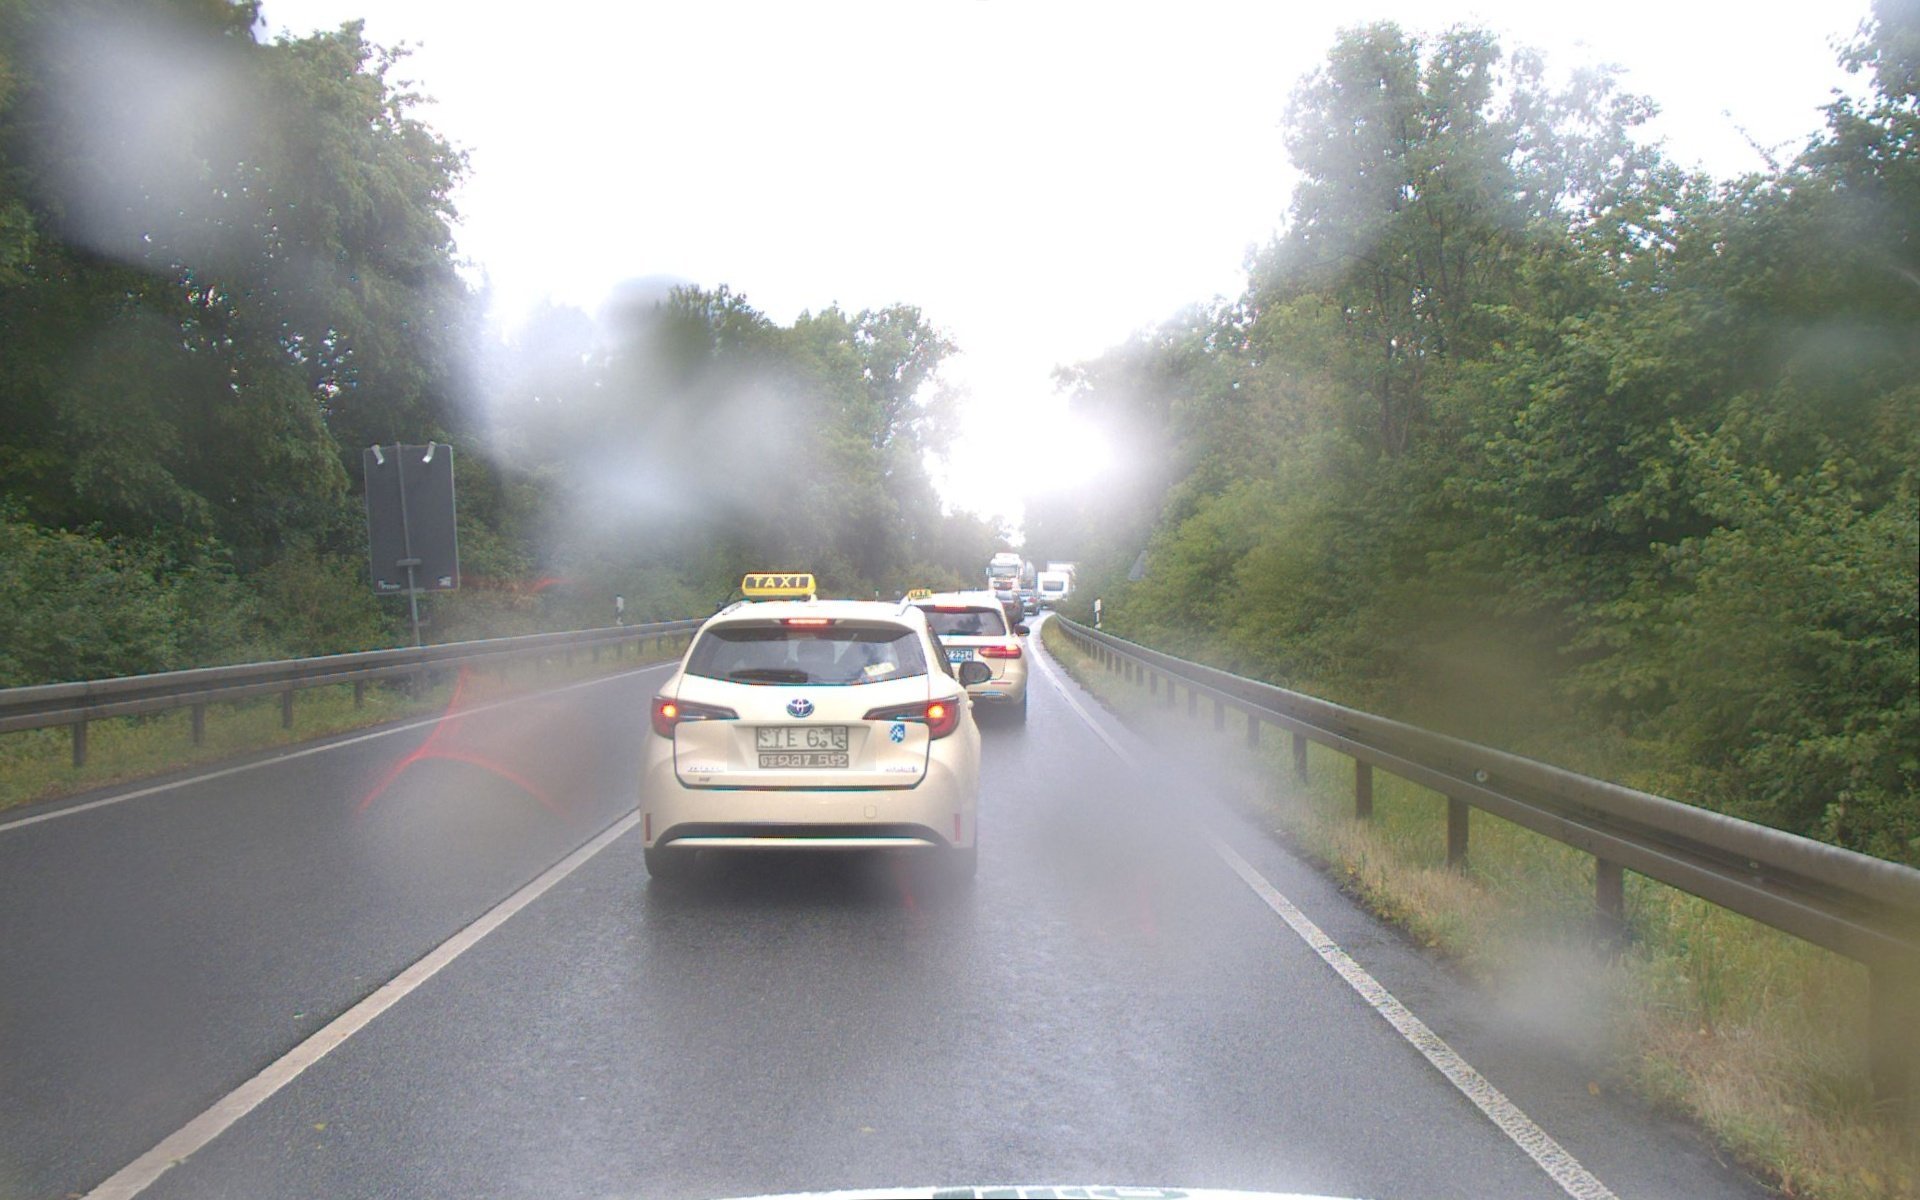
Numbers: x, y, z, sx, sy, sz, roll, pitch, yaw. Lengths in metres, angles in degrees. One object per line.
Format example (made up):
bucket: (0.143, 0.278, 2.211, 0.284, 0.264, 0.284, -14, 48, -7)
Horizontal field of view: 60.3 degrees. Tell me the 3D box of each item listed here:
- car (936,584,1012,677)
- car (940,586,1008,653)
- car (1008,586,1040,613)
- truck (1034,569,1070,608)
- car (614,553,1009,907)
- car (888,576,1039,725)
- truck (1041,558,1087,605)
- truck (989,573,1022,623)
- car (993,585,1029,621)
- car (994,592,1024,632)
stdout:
car: (0.219, 0.530, 29.973, 1.274, 1.574, 3.259, 1, 0, -1)
car: (0.367, 0.440, 40.850, 1.578, 1.574, 3.814, 0, 0, 1)
car: (3.815, -0.030, 97.892, 1.732, 1.574, 3.816, 1, 0, 4)
truck: (6.657, -0.798, 120.347, 2.496, 2.760, 7.537, 1, 0, 3)
car: (-0.713, 0.610, 9.734, 1.796, 1.608, 4.156, 1, 0, -1)
car: (0.067, 0.561, 20.042, 1.633, 1.608, 3.892, 1, 0, 1)
truck: (8.752, -1.493, 138.715, 3.041, 3.745, 7.006, 1, 0, 10)
truck: (3.639, -0.140, 133.625, 2.484, 3.892, 5.244, 1, 0, 0)
car: (2.388, 0.152, 77.960, 1.582, 1.641, 3.622, 1, 0, 1)
car: (1.958, 0.478, 65.924, 1.143, 1.574, 2.605, 1, 0, 2)
